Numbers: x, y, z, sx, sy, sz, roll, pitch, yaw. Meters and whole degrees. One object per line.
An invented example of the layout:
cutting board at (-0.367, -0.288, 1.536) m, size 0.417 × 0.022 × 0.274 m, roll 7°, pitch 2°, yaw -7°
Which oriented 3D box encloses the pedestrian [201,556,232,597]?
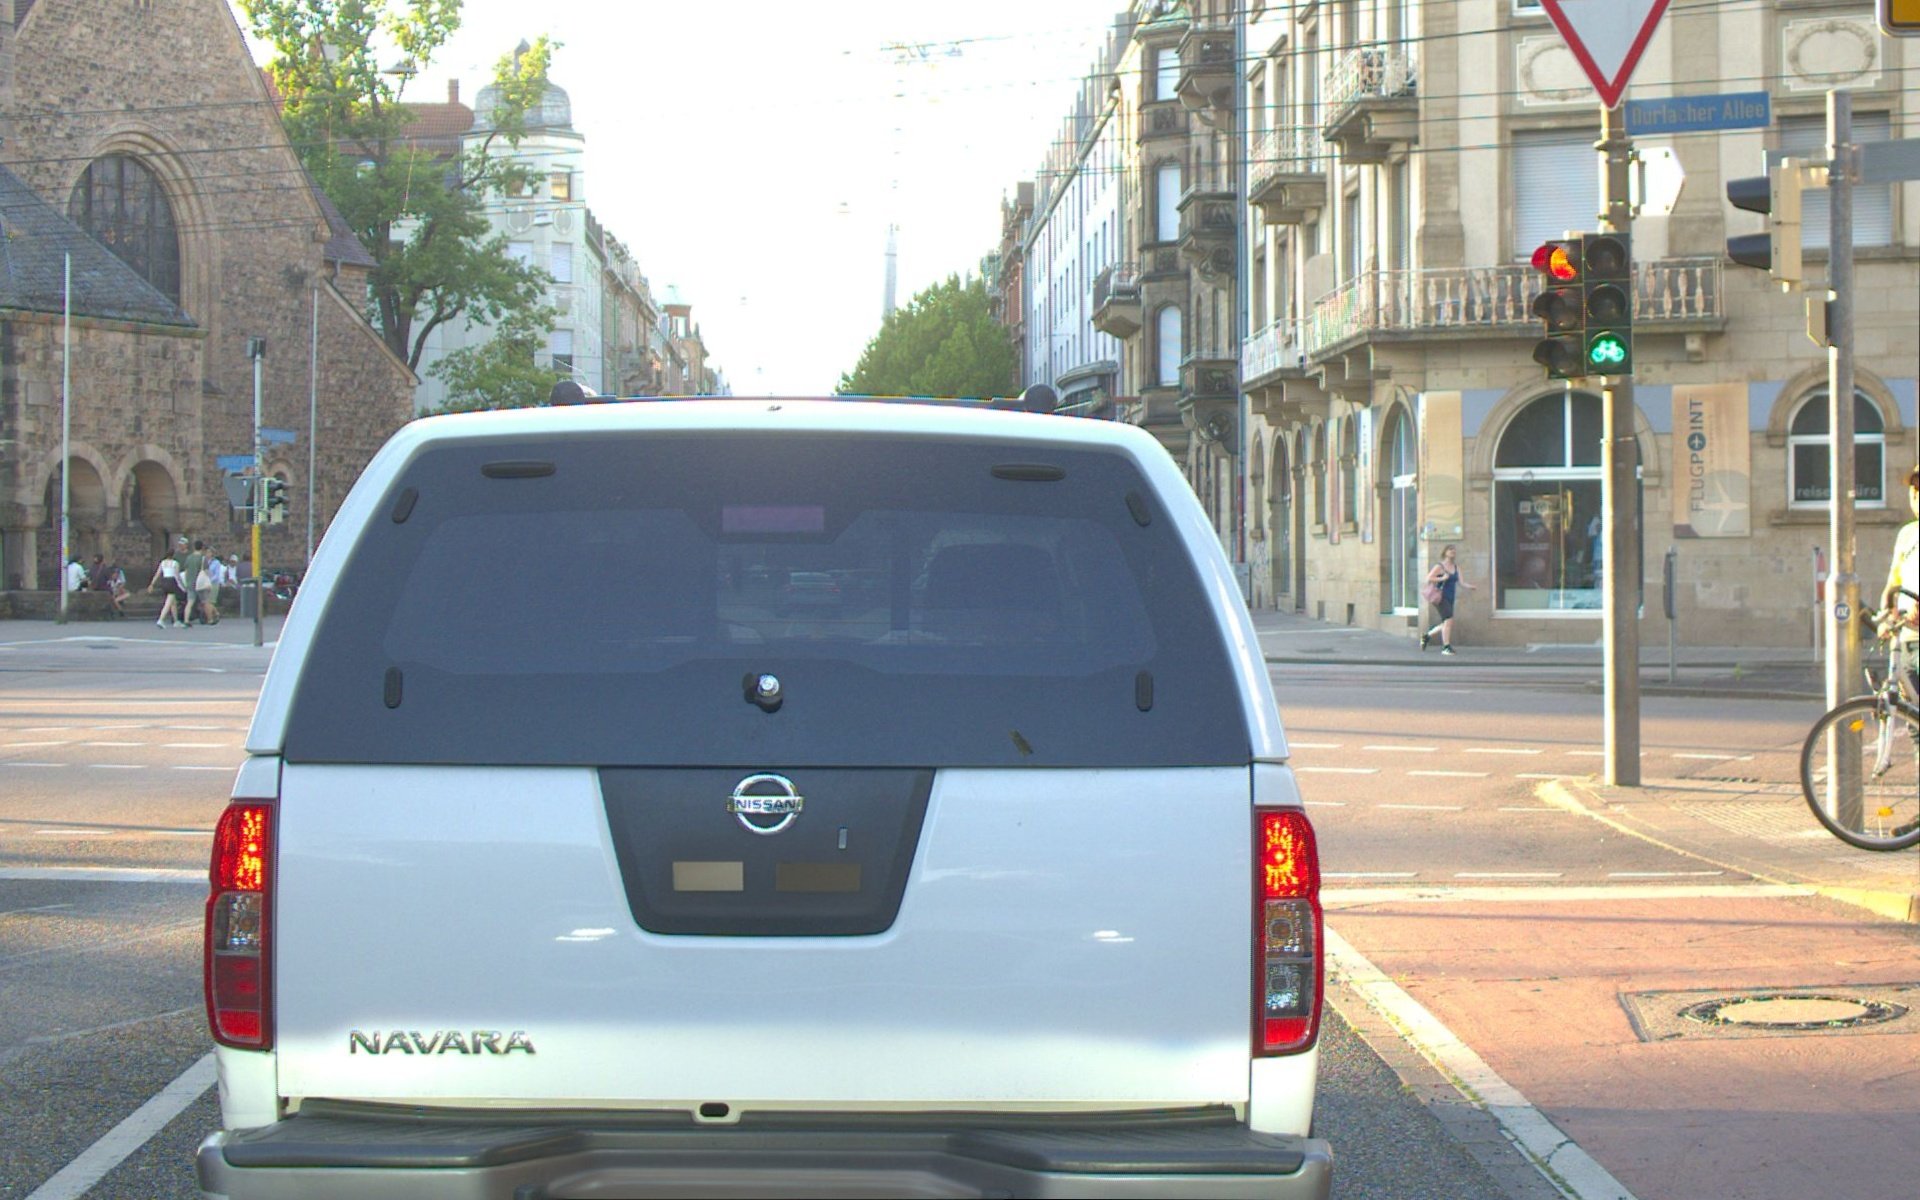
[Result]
pedestrian at (-17.389, -0.552, 80.409) m, size 0.522 × 0.957 × 0.479 m, roll 1°, pitch 0°, yaw 17°

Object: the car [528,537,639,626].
car at (-7.942, -0.425, 72.921) m, size 1.993 × 1.778 × 4.798 m, roll 0°, pitch 2°, yaw -2°

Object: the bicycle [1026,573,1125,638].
bicycle at (2.111, 0.096, 62.707) m, size 1.726 × 1.080 × 0.317 m, roll -3°, pitch 0°, yaw -2°

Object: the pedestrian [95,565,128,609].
pedestrian at (-18.731, -0.279, 75.871) m, size 0.478 × 0.957 × 0.522 m, roll 1°, pitch 0°, yaw 29°

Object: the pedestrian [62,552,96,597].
pedestrian at (-19.214, -0.556, 74.973) m, size 0.522 × 0.957 × 0.479 m, roll 1°, pitch 0°, yaw 19°

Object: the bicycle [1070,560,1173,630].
bicycle at (3.090, -0.100, 65.756) m, size 1.855 × 1.233 × 0.531 m, roll -3°, pitch 0°, yaw -2°

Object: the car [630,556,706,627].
car at (-8.689, -0.275, 102.768) m, size 1.993 × 2.007 × 4.951 m, roll -1°, pitch 1°, yaw -2°

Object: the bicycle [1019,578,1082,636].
bicycle at (1.676, 0.132, 63.590) m, size 1.076 × 1.021 × 0.317 m, roll -3°, pitch 0°, yaw -2°

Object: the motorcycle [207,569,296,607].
motorcycle at (-18.892, -0.311, 91.701) m, size 2.243 × 0.984 × 0.708 m, roll 1°, pitch 0°, yaw -6°

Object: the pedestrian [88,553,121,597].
pedestrian at (-18.588, -0.547, 74.699) m, size 0.522 × 0.957 × 0.479 m, roll 1°, pitch 0°, yaw 19°

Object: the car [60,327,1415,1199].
car at (-0.357, 0.505, 7.116) m, size 1.993 × 1.803 × 4.000 m, roll 1°, pitch 0°, yaw -1°

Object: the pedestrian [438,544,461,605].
pedestrian at (-15.714, -0.786, 105.834) m, size 0.642 × 1.849 × 0.562 m, roll 1°, pitch 0°, yaw -15°

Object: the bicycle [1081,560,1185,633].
bicycle at (3.175, -0.062, 63.183) m, size 1.817 × 1.233 × 0.488 m, roll -3°, pitch 0°, yaw -2°

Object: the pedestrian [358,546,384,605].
pedestrian at (-17.092, -0.702, 99.830) m, size 0.642 × 1.690 × 0.562 m, roll 1°, pitch 0°, yaw -1°

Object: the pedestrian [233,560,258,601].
pedestrian at (-16.713, -0.463, 80.378) m, size 0.521 × 0.957 × 0.479 m, roll 1°, pitch 0°, yaw -16°

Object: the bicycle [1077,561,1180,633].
bicycle at (3.127, -0.061, 63.894) m, size 1.817 × 1.233 × 0.478 m, roll -3°, pitch 0°, yaw -2°

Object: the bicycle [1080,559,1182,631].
bicycle at (3.219, -0.096, 64.620) m, size 1.817 × 1.233 × 0.412 m, roll -3°, pitch 0°, yaw -2°

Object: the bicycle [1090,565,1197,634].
bicycle at (3.310, -0.013, 62.243) m, size 1.817 × 1.146 × 0.636 m, roll -3°, pitch 0°, yaw -2°

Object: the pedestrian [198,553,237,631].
pedestrian at (-16.187, -0.169, 74.968) m, size 0.634 × 1.693 × 0.602 m, roll 1°, pitch 0°, yaw 10°

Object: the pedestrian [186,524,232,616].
pedestrian at (-15.646, -0.623, 71.627) m, size 0.812 × 1.894 × 0.666 m, roll 1°, pitch 0°, yaw -3°

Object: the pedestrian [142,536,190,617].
pedestrian at (-16.548, -0.496, 71.663) m, size 0.812 × 1.664 × 0.860 m, roll 1°, pitch 0°, yaw -3°

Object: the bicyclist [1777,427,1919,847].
bicyclist at (4.140, 0.161, 15.348) m, size 0.696 × 1.818 × 0.628 m, roll 1°, pitch 0°, yaw -33°

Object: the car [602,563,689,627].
car at (-7.998, -0.109, 87.879) m, size 1.993 × 1.552 × 4.769 m, roll -1°, pitch 0°, yaw -3°

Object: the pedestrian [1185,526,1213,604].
pedestrian at (5.079, -0.745, 73.015) m, size 0.527 × 1.649 × 0.547 m, roll 1°, pitch 0°, yaw -1°

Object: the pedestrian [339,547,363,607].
pedestrian at (-17.293, -0.656, 97.591) m, size 0.642 × 1.690 × 0.562 m, roll 1°, pitch 0°, yaw -9°

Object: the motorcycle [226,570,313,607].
motorcycle at (-18.821, -0.318, 93.728) m, size 2.243 × 0.984 × 0.708 m, roll 1°, pitch 0°, yaw -6°

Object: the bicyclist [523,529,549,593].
bicyclist at (-10.998, -1.006, 89.177) m, size 0.599 × 1.639 × 0.963 m, roll 1°, pitch 0°, yaw -5°

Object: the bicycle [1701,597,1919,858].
bicycle at (4.314, 0.551, 15.459) m, size 2.065 × 1.106 × 0.628 m, roll 1°, pitch 0°, yaw -33°

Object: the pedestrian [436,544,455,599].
pedestrian at (-15.975, -0.876, 106.673) m, size 0.560 × 1.690 × 0.645 m, roll 1°, pitch 0°, yaw -8°

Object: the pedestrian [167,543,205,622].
pedestrian at (-16.914, -0.382, 75.143) m, size 0.634 × 1.693 × 0.602 m, roll 1°, pitch 0°, yaw 8°

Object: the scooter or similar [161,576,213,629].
scooter or similar at (-16.647, 0.058, 74.037) m, size 0.634 × 1.099 × 1.077 m, roll 2°, pitch -2°, yaw 14°

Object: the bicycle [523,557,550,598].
bicycle at (-10.978, -0.576, 89.173) m, size 0.599 × 1.040 × 1.946 m, roll 1°, pitch 0°, yaw -5°

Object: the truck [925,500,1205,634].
truck at (2.145, -0.650, 68.798) m, size 5.658 × 2.556 × 2.286 m, roll 0°, pitch 1°, yaw -44°

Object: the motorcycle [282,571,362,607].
motorcycle at (-17.825, -0.313, 96.018) m, size 2.167 × 0.984 × 0.593 m, roll 1°, pitch 0°, yaw 19°

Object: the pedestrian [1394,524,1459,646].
pedestrian at (6.844, -0.217, 50.419) m, size 0.788 × 1.773 × 0.543 m, roll 1°, pitch 0°, yaw 25°
